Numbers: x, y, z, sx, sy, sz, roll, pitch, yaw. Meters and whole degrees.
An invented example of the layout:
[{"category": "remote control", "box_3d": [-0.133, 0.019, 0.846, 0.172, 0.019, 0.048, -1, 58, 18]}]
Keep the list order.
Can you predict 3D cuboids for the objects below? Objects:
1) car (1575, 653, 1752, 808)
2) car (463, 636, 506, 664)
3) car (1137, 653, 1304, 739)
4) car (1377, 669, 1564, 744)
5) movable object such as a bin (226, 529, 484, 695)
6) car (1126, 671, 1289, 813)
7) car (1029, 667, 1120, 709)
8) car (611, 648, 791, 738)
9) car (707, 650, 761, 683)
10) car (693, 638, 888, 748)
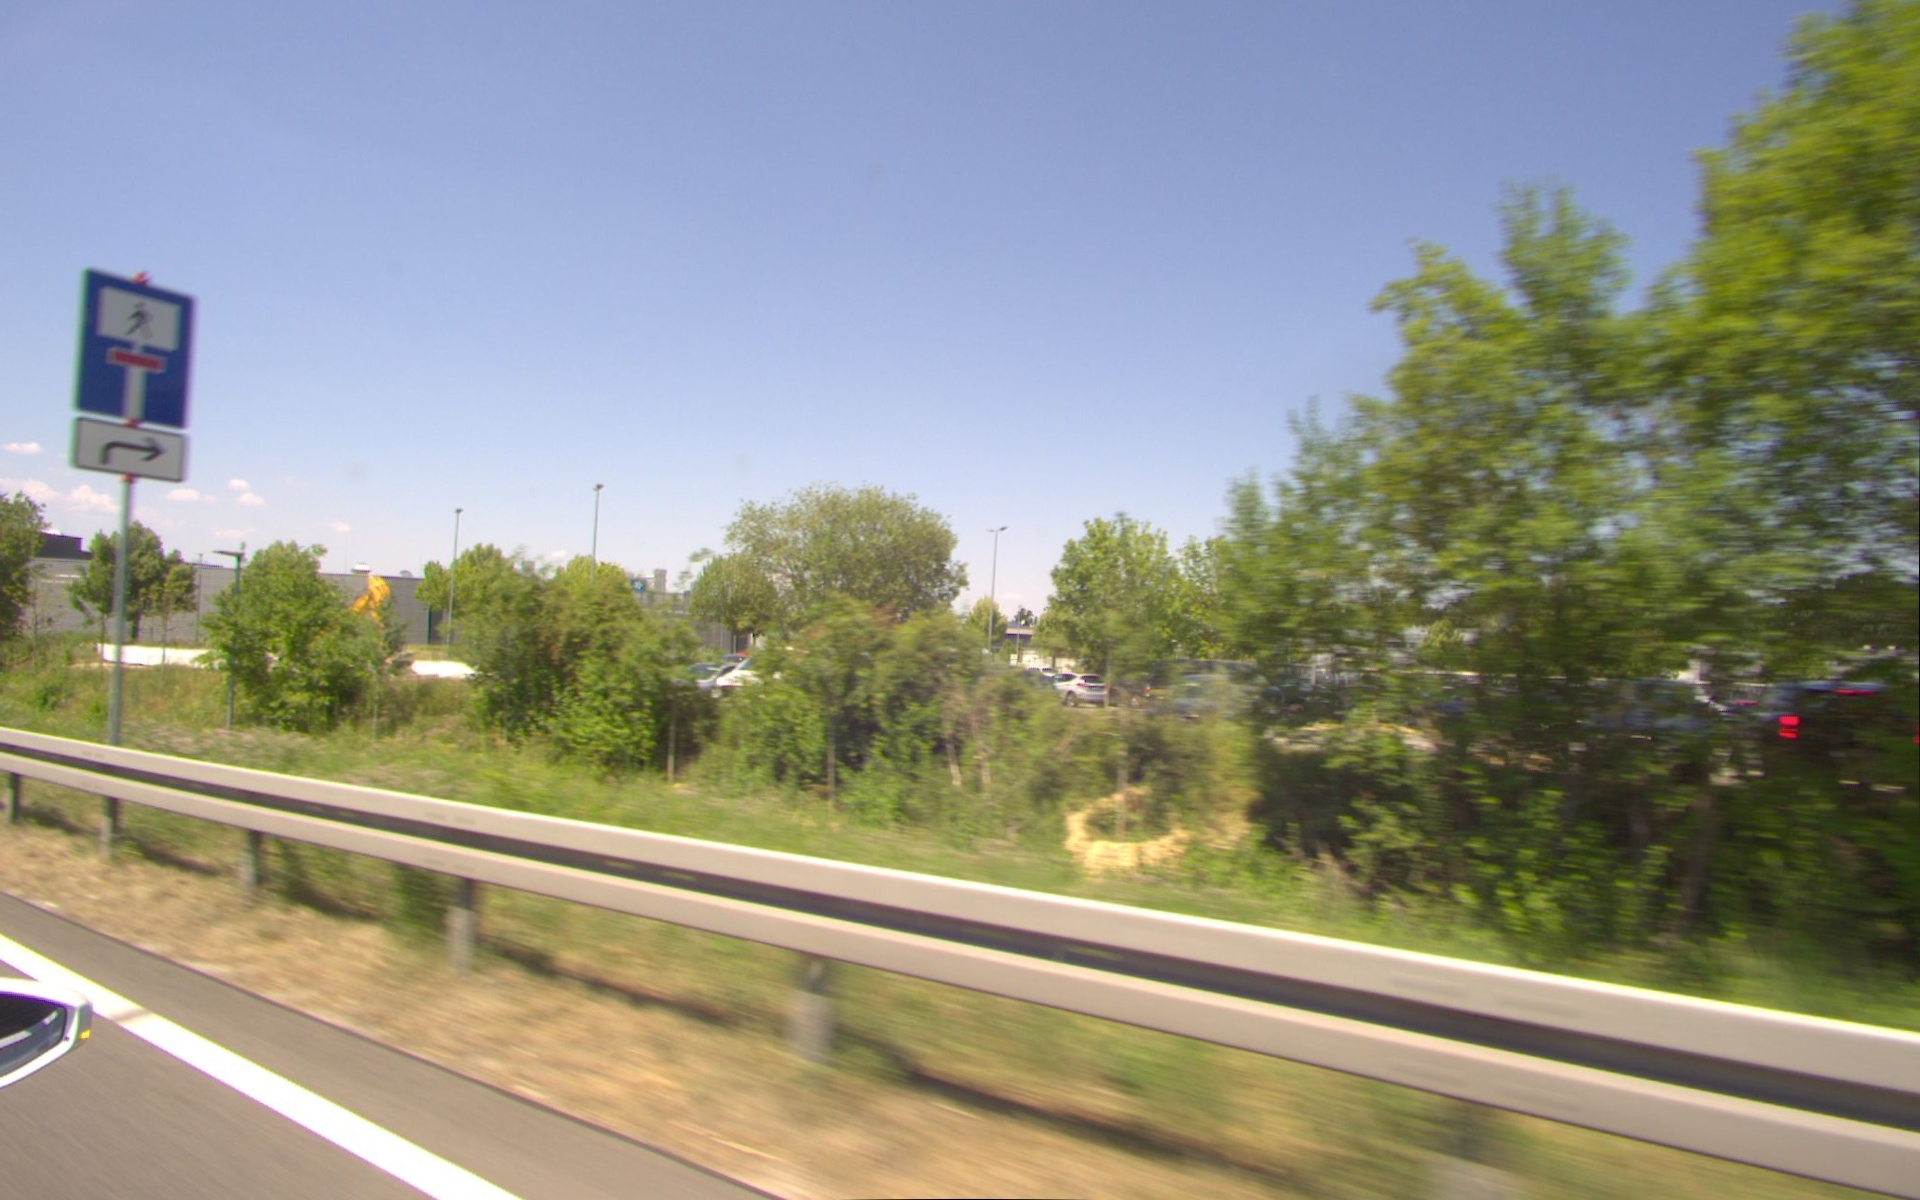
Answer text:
[{"category": "car", "box_3d": [11.203, 1.958, 16.134, 1.972, 1.993, 4.671, 3, -2, 34]}, {"category": "car", "box_3d": [-32.897, 3.463, 69.242, 2.074, 1.838, 5.315, 3, -3, -31]}, {"category": "car", "box_3d": [7.994, 2.921, 31.279, 1.972, 2.198, 5.126, 4, -2, -29]}, {"category": "car", "box_3d": [14.895, 3.082, 29.499, 1.973, 1.756, 4.546, 5, -2, -29]}, {"category": "movable object such as a bin", "box_3d": [-21.939, 0.341, 36.207, 9.079, 5.327, 3.426, 3, -2, 27]}, {"category": "car", "box_3d": [5.133, 2.647, 20.134, 2.100, 2.286, 5.222, 3, -2, 25]}, {"category": "car", "box_3d": [4.878, 3.761, 43.187, 1.917, 1.575, 4.328, 2, -2, -25]}, {"category": "car", "box_3d": [-6.579, 2.358, 25.915, 1.970, 1.993, 4.292, 3, -2, 31]}, {"category": "car", "box_3d": [-12.326, 3.581, 54.396, 1.983, 1.657, 4.575, 2, -2, -23]}, {"category": "car", "box_3d": [-4.033, 2.230, 24.939, 2.100, 2.286, 5.222, 3, -2, 25]}]
